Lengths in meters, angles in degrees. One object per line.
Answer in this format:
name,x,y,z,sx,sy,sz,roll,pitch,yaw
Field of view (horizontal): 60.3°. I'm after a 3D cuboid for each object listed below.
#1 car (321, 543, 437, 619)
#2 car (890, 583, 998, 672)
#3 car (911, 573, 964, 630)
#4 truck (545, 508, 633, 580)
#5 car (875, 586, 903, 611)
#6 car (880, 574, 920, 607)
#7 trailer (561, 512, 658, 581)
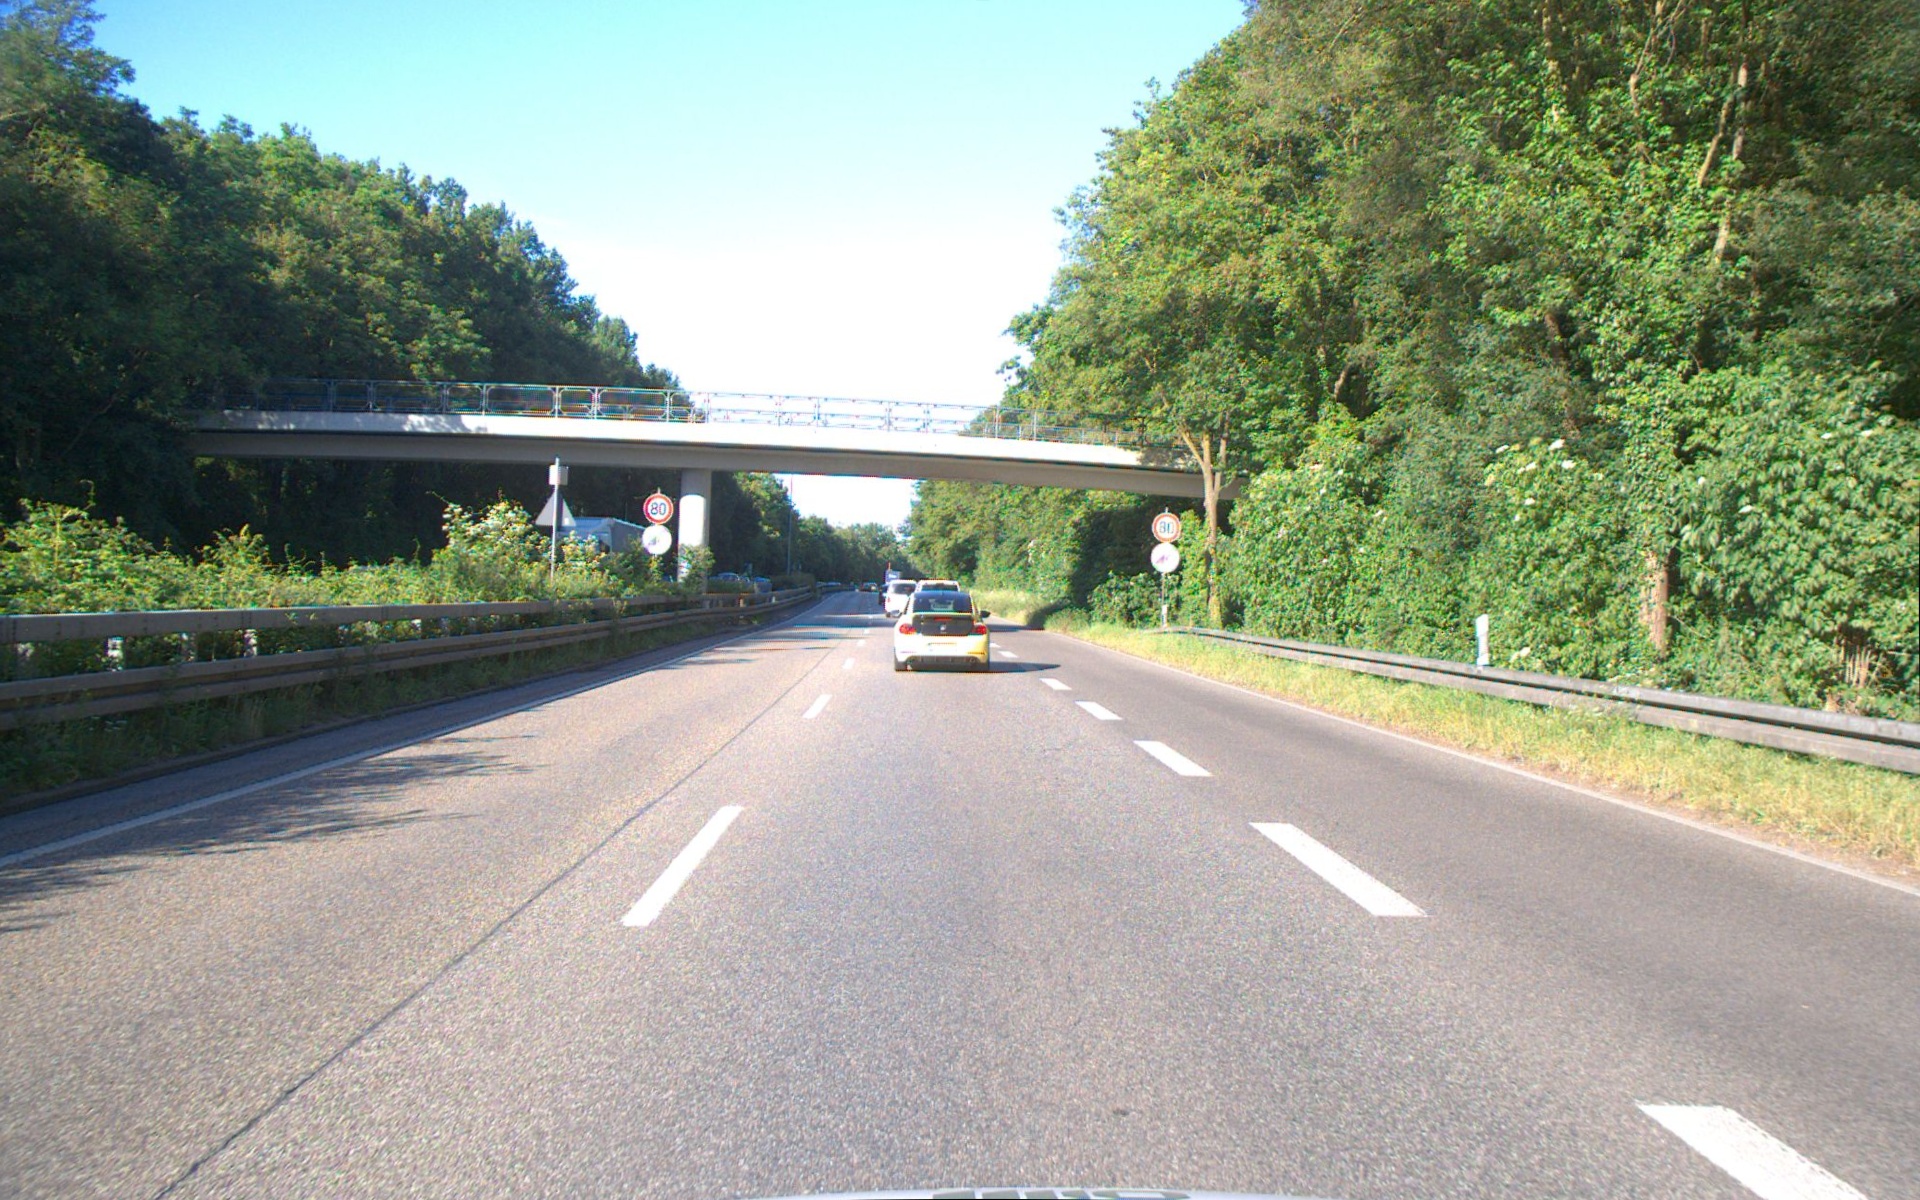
car,-16.501,-0.533,47.147,1.953,2.049,3.999,1,0,-2
car,-0.280,0.484,31.214,1.899,1.534,3.422,1,0,0
car,-0.757,0.050,58.725,1.706,1.861,3.422,4,0,0
truck,-17.873,-2.649,80.095,2.871,3.223,7.080,1,0,-2
car,-5.298,-0.145,122.921,1.954,1.780,4.369,1,0,-4
car,-2.939,-0.456,81.295,1.900,1.572,3.421,1,0,-2
trailer,-18.086,-2.662,86.108,2.871,3.223,11.911,1,0,-2
